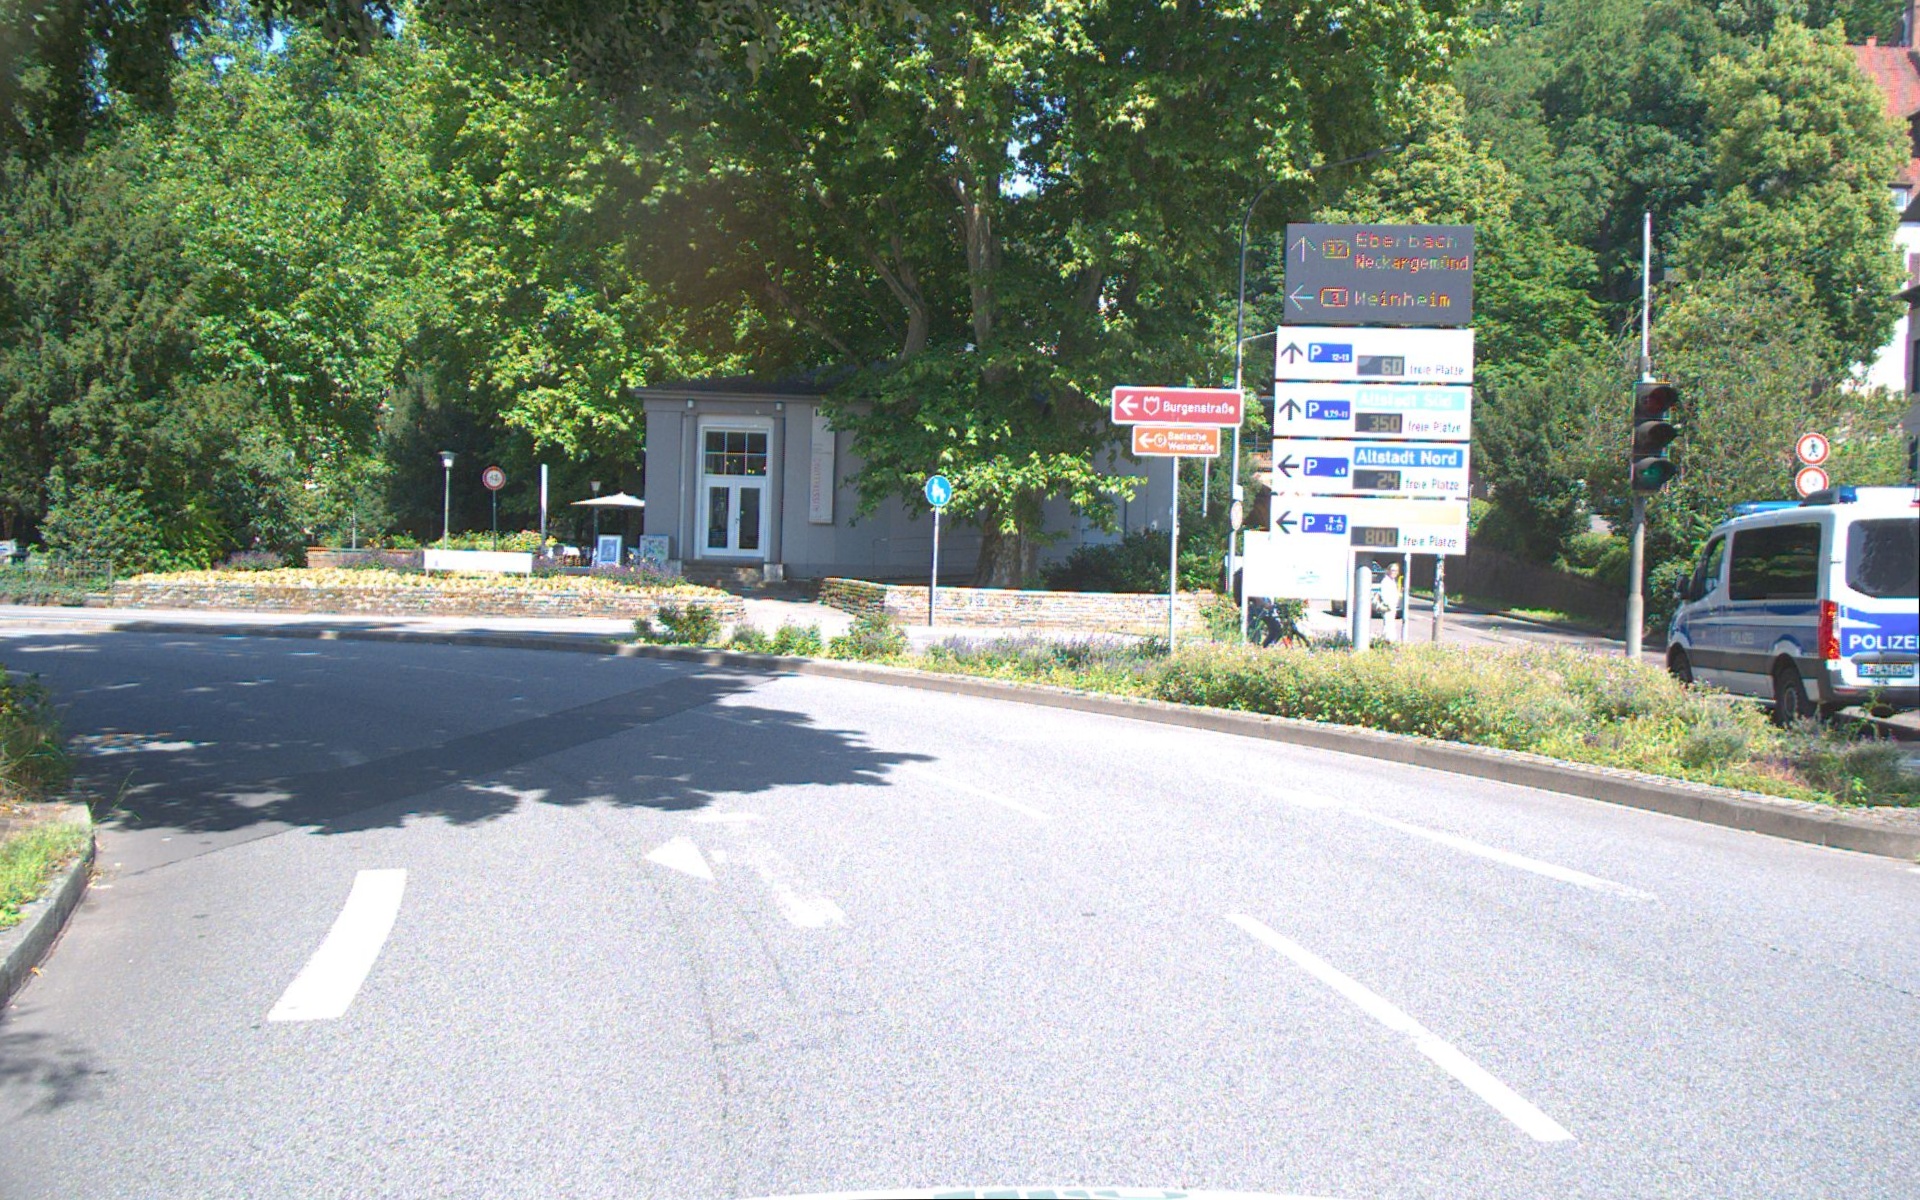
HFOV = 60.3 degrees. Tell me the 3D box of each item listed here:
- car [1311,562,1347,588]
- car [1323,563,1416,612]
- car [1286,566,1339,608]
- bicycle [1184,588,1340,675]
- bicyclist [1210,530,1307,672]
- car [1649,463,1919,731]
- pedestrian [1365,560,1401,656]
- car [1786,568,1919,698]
[{"bbox_3d":[21.741,-1.490,97.519,1.719,1.486,3.649,2,2,8],"label":"car"},{"bbox_3d":[12.258,-0.403,49.727,1.720,1.357,3.801,2,2,-1],"label":"car"},{"bbox_3d":[13.467,-0.511,63.393,1.719,1.486,3.497,2,2,8],"label":"car"},{"bbox_3d":[4.301,0.427,23.600,2.040,1.132,0.754,3,2,34],"label":"bicycle"},{"bbox_3d":[4.260,0.005,23.631,1.106,1.966,0.746,2,1,34],"label":"bicyclist"},{"bbox_3d":[9.599,-0.051,18.430,2.030,2.552,4.932,2,1,5],"label":"car"},{"bbox_3d":[7.357,0.126,28.771,0.535,1.649,0.634,1,2,18],"label":"pedestrian"},{"bbox_3d":[12.985,0.428,22.324,1.683,1.567,4.274,3,2,3],"label":"car"}]
